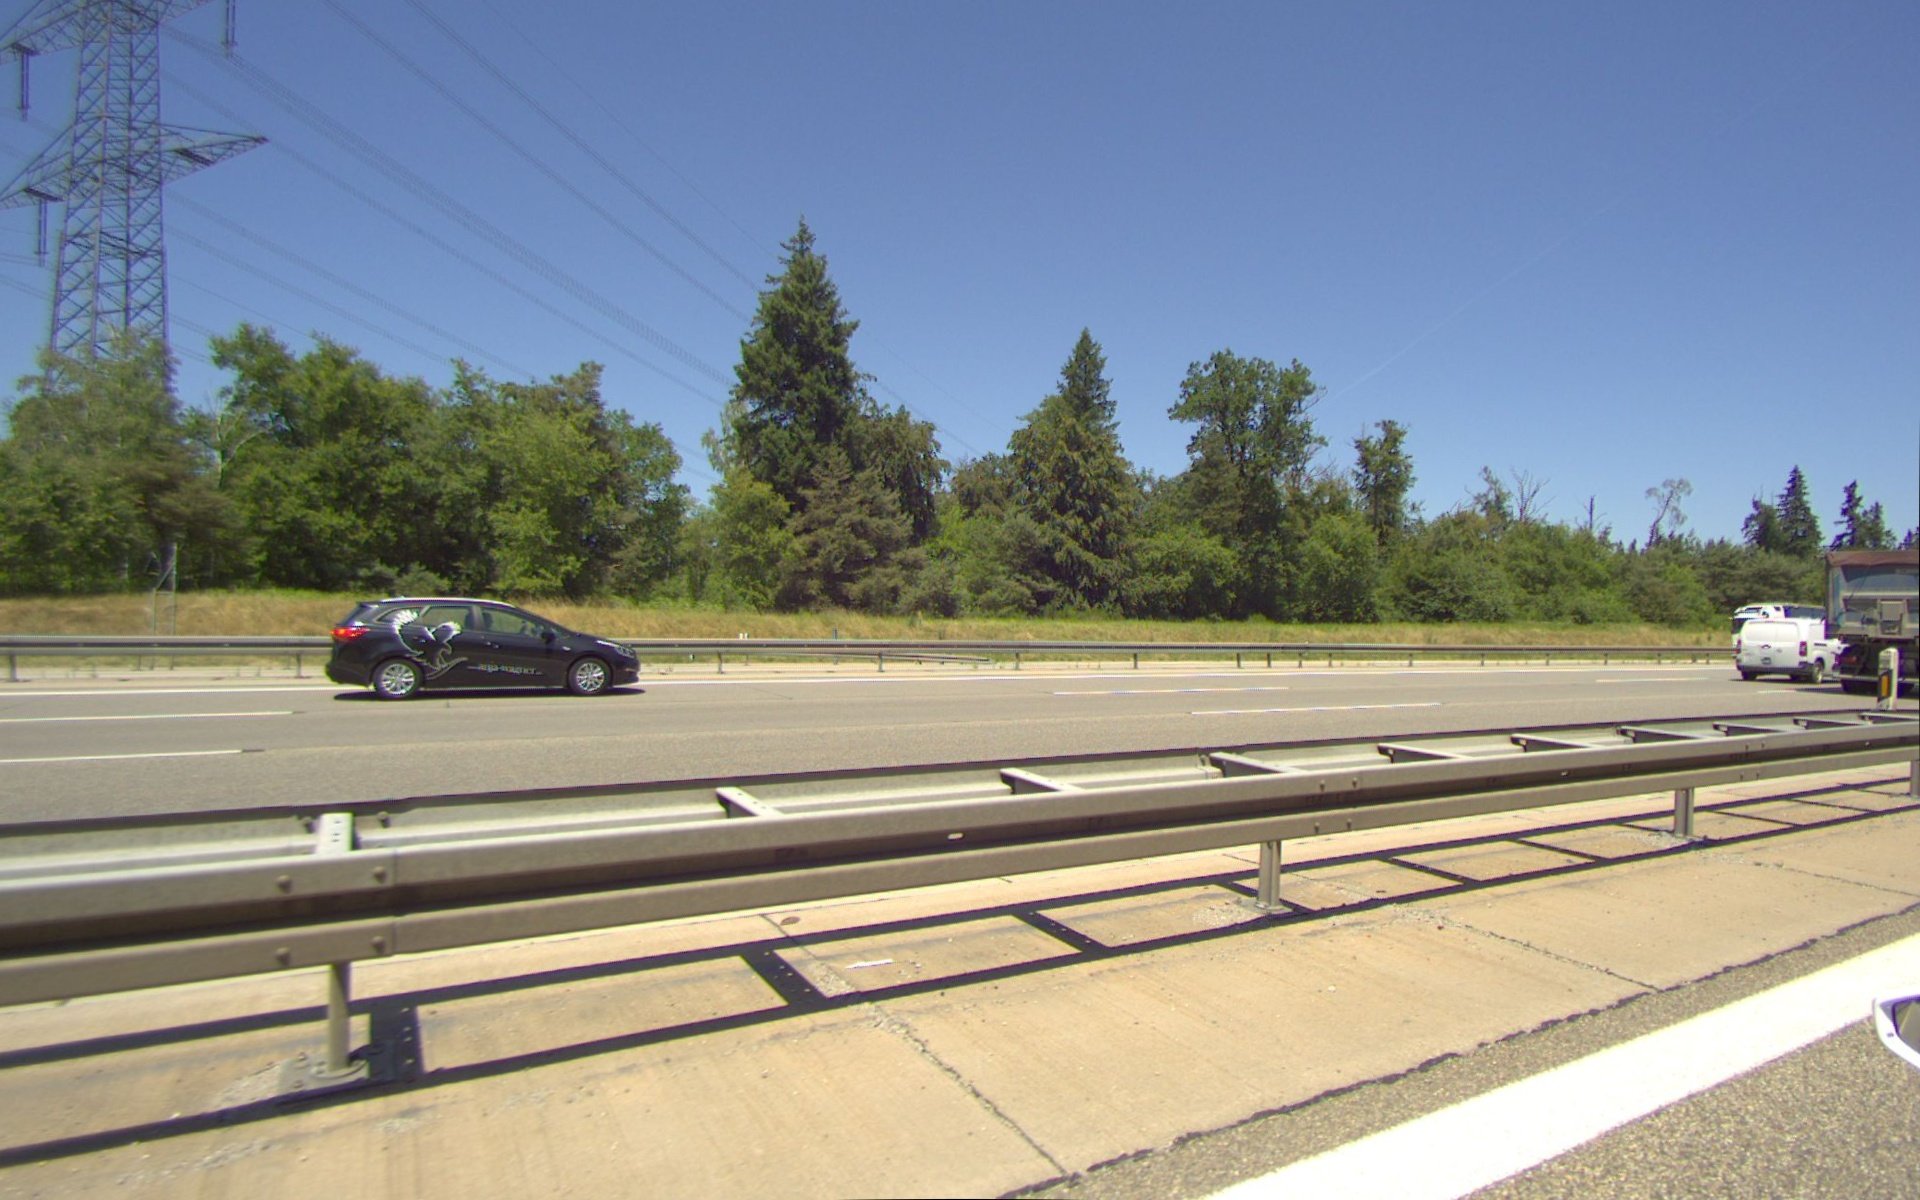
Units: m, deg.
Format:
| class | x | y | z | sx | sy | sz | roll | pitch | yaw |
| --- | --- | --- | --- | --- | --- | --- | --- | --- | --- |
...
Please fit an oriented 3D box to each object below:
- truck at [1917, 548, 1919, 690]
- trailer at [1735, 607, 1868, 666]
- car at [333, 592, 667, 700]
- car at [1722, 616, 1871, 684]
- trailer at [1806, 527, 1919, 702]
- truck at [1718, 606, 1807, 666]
| class | x | y | z | sx | sy | sz | roll | pitch | yaw |
| --- | --- | --- | --- | --- | --- | --- | --- | --- | --- |
| truck | 28.975 | 0.572 | 27.370 | 5.874 | 3.808 | 2.672 | 2 | -1 | -30 |
| trailer | 64.169 | 2.893 | 76.423 | 13.818 | 4.227 | 3.188 | 2 | -3 | -30 |
| car | -7.101 | 0.699 | 15.788 | 4.541 | 1.494 | 1.696 | 1 | -1 | -29 |
| car | 24.600 | 1.450 | 29.503 | 4.659 | 1.858 | 1.824 | 1 | -1 | -29 |
| trailer | 24.509 | 0.438 | 24.761 | 9.001 | 3.808 | 2.724 | 2 | -1 | -30 |
| truck | 58.357 | 2.671 | 73.057 | 5.655 | 4.227 | 3.188 | 2 | -2 | -30 |
